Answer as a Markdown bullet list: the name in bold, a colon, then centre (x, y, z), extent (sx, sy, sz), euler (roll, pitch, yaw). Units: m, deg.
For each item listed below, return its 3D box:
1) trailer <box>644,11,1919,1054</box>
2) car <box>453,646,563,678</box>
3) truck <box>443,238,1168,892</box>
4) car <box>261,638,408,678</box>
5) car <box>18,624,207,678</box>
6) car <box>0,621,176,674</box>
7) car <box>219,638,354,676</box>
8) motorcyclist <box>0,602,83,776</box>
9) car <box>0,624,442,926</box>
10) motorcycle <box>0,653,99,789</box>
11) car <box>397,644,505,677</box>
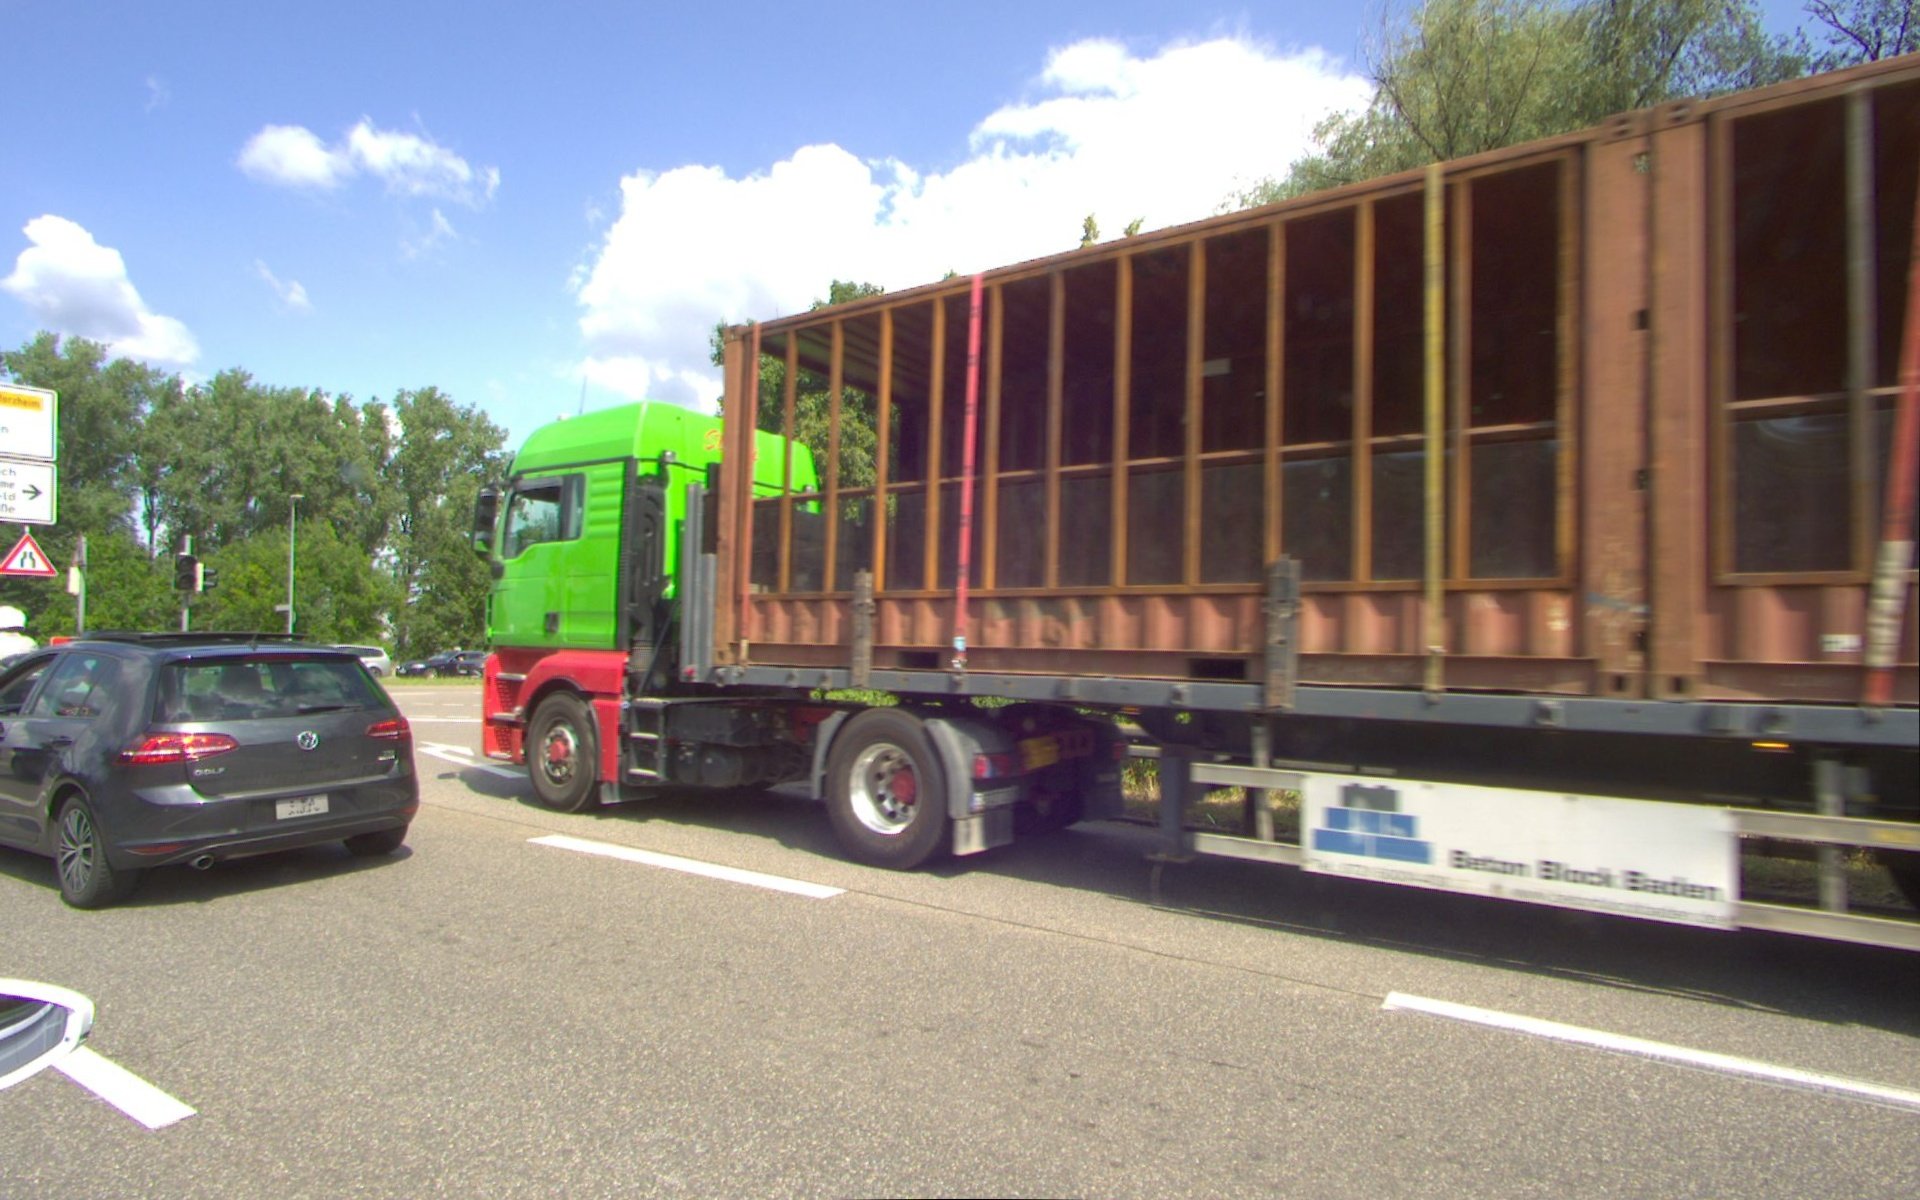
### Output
- **trailer**: centre (3.932, -0.187, 5.135), extent (13.660, 3.938, 2.635), euler (-1, -5, 35)
- **car**: centre (-20.351, 2.830, 45.294), extent (1.621, 1.306, 4.397), euler (1, -4, 30)
- **truck**: centre (-1.471, -0.086, 8.837), extent (5.796, 3.950, 2.865), euler (-1, -5, 34)
- **car**: centre (-23.926, 2.253, 38.495), extent (1.621, 1.392, 4.527), euler (1, -4, 30)
- **car**: centre (-27.464, 1.704, 32.610), extent (1.817, 1.636, 4.280), euler (-1, -4, 30)
- **car**: centre (-30.088, 1.695, 34.683), extent (1.810, 1.666, 4.201), euler (1, -3, 30)
- **car**: centre (-27.182, 2.338, 40.551), extent (1.621, 1.392, 4.201), euler (1, -4, 30)
- **motorcyclist**: centre (-9.495, 0.855, 9.876), extent (1.109, 1.640, 0.964), euler (0, -2, 32)
- **car**: centre (-5.375, 0.919, 6.675), extent (3.815, 1.497, 1.640), euler (-1, -2, 31)
- **motorcycle**: centre (-9.325, 1.117, 9.727), extent (2.365, 1.146, 0.788), euler (0, -2, 32)
- **car**: centre (-23.592, 2.834, 46.536), extent (1.675, 1.392, 4.201), euler (1, -4, 30)
